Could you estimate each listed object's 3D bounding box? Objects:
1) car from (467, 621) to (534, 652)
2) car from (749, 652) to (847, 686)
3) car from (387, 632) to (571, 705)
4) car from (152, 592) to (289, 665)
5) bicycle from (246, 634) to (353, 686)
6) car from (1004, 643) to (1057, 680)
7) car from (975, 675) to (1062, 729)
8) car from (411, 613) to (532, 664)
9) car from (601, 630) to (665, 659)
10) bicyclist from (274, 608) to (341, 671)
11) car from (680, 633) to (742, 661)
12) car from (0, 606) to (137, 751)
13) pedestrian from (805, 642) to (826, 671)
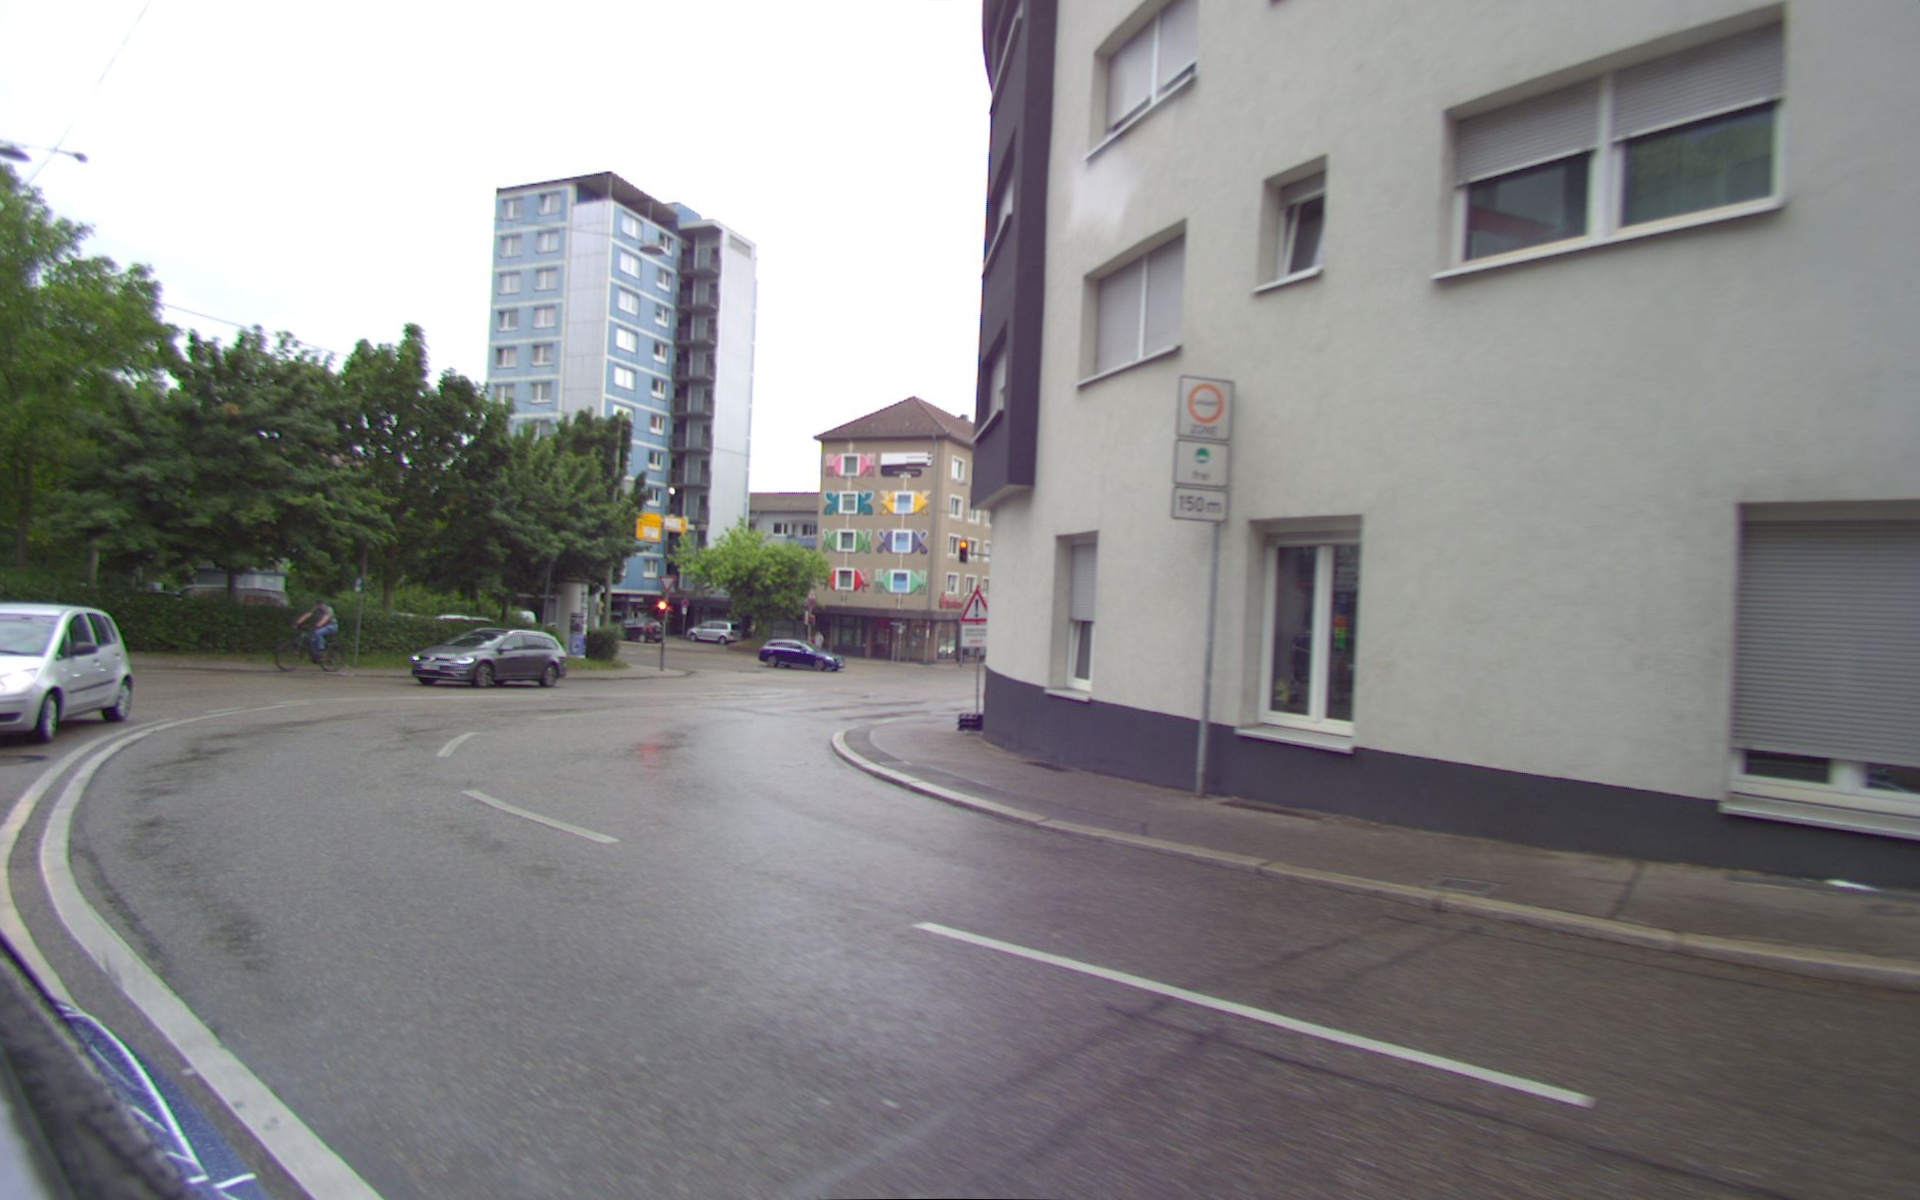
[{"bbox_3d":[-32.808,2.622,72.221,4.208,1.869,1.974,3,-3,25],"label":"car"},{"bbox_3d":[-8.341,3.521,52.144,4.623,1.406,1.809,3,-1,19],"label":"car"},{"bbox_3d":[-12.117,1.820,25.861,1.672,1.516,4.481,3,-6,14],"label":"car"},{"bbox_3d":[-22.675,0.857,31.013,4.194,1.975,1.621,2,-5,29],"label":"car"},{"bbox_3d":[-17.000,1.573,26.112,0.882,1.196,2.120,6,-3,18],"label":"bicycle"},{"bbox_3d":[5.258,4.575,74.688,2.219,2.543,5.427,0,-4,23],"label":"car"},{"bbox_3d":[1.830,3.065,30.630,1.604,1.475,3.508,0,-5,21],"label":"car"},{"bbox_3d":[-18.959,1.489,39.285,4.179,1.633,1.627,3,-5,19],"label":"car"},{"bbox_3d":[-23.177,3.119,71.727,4.160,1.678,1.638,4,0,23],"label":"car"},{"bbox_3d":[-16.909,1.035,26.240,0.882,1.500,0.962,6,-3,19],"label":"bicyclist"},{"bbox_3d":[-18.370,3.435,74.687,4.160,1.678,1.638,4,0,23],"label":"car"},{"bbox_3d":[-11.527,0.881,12.018,1.658,1.516,3.851,2,-4,-23],"label":"car"},{"bbox_3d":[-9.347,3.638,65.517,0.898,1.787,0.812,3,-3,22],"label":"pedestrian"}]
